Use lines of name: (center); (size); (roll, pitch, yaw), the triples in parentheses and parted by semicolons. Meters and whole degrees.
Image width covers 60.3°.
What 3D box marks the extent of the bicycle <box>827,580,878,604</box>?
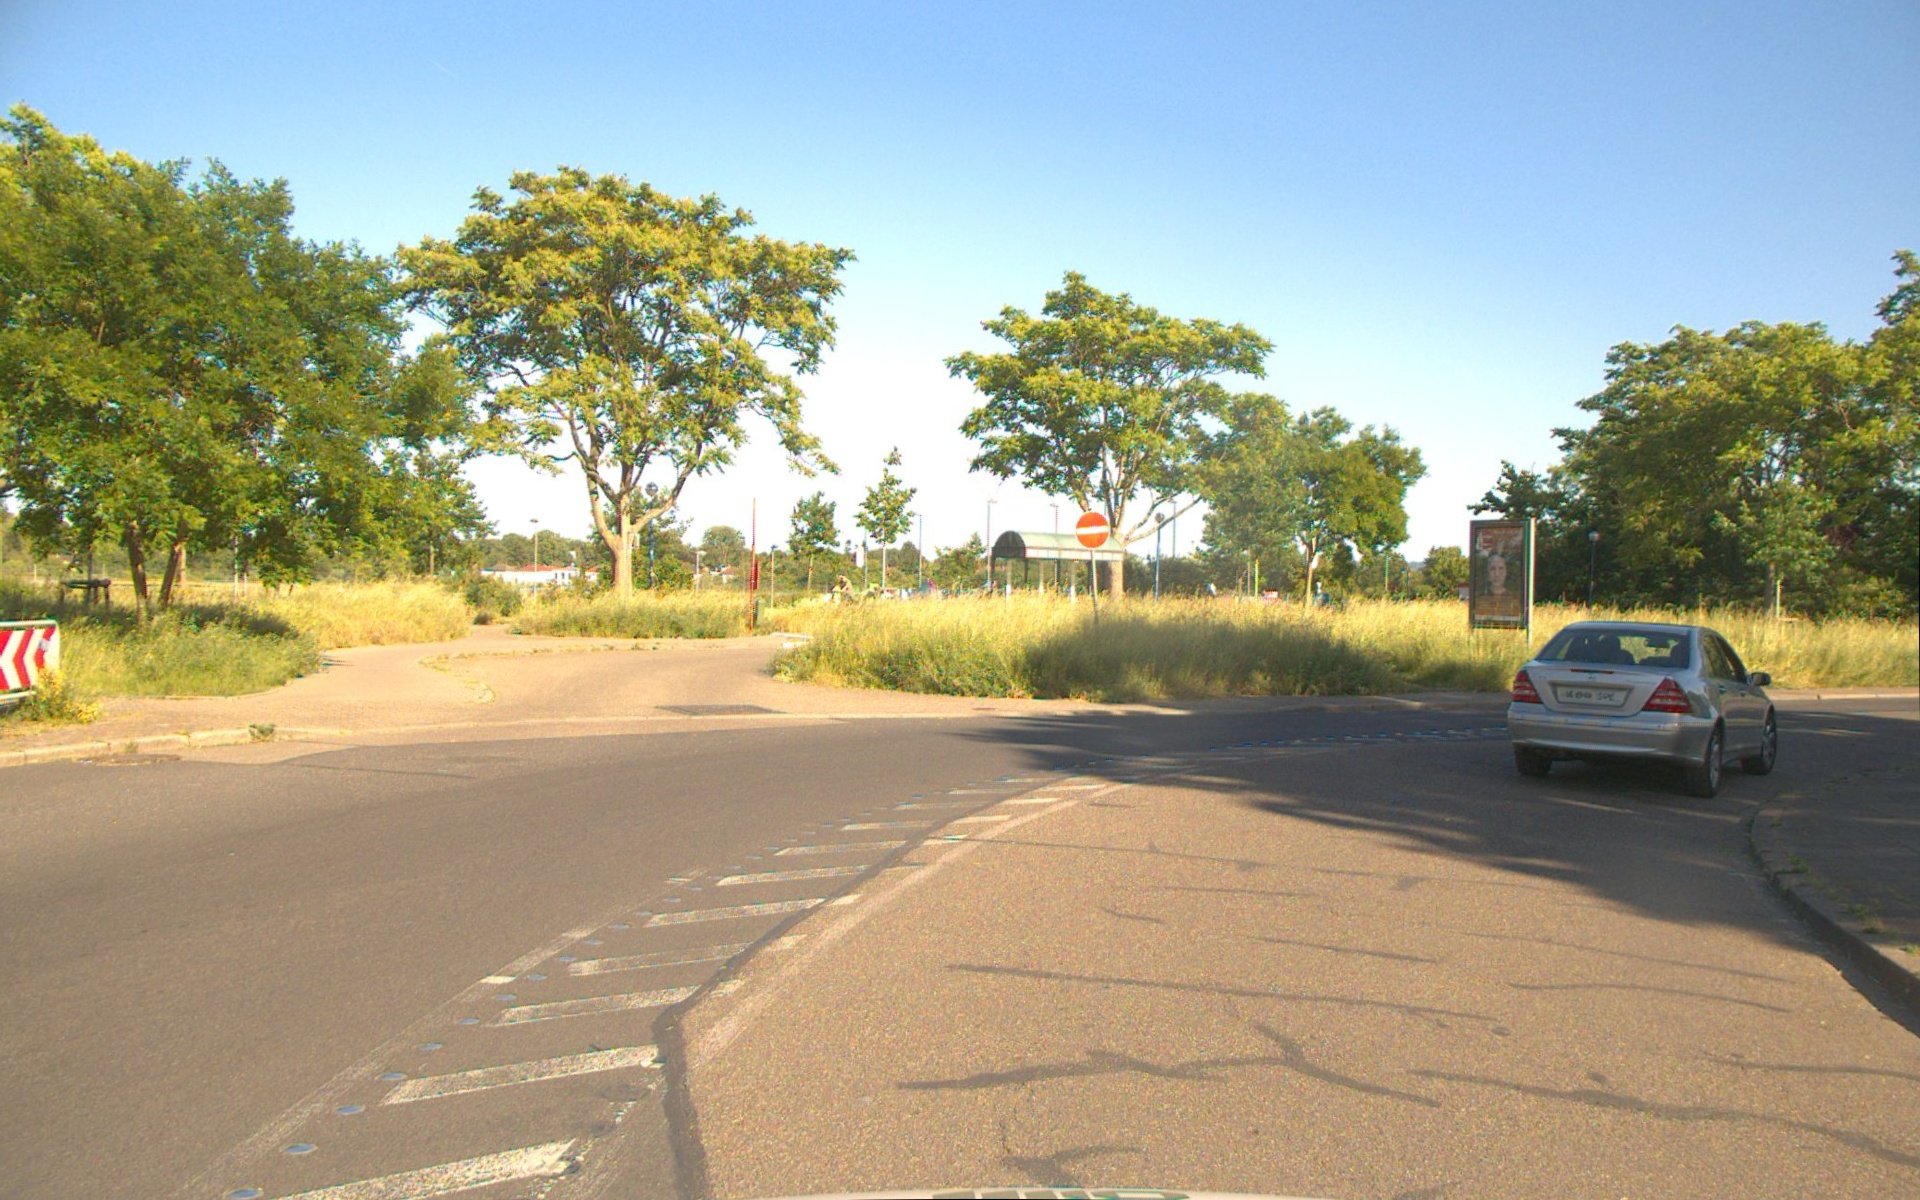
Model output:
bicycle: (-3.506, -0.246, 53.942); (1.561, 0.716, 0.645); (2, 0, -40)

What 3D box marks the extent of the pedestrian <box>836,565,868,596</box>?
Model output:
pedestrian: (-3.515, -0.639, 53.888); (0.792, 0.957, 0.693); (2, 0, -39)

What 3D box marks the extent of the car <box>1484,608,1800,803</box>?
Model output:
car: (6.518, 0.886, 15.515); (1.786, 1.489, 4.345); (2, 0, 35)
